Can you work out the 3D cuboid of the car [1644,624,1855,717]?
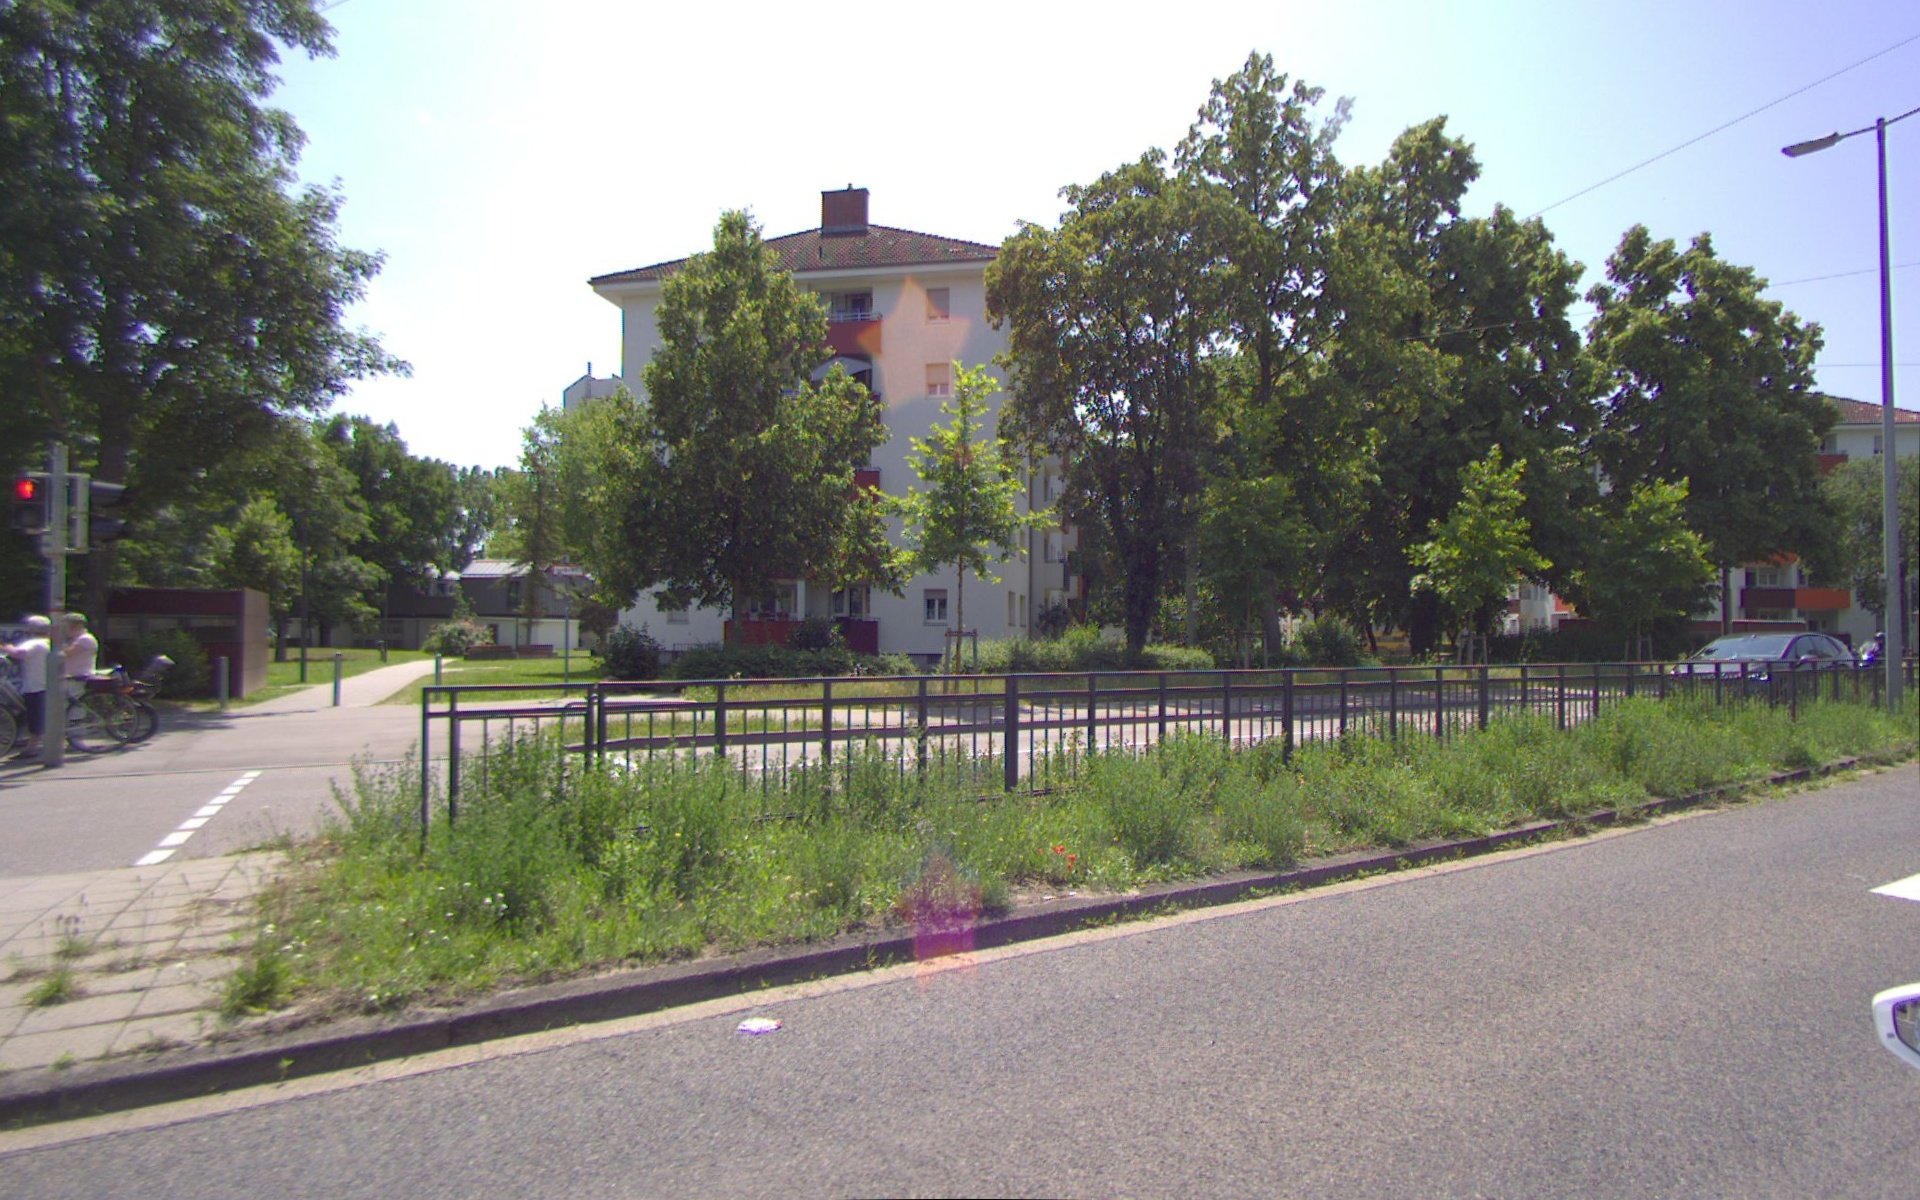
[{"bbox_3d":[14.686,1.246,18.646,4.113,1.563,1.747,1,-2,-31],"label":"car"}]

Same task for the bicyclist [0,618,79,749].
[{"bbox_3d":[-10.024,0.883,10.773,0.746,1.363,0.542,1,-2,-31],"label":"bicyclist"}]

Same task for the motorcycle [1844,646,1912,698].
[{"bbox_3d":[24.698,1.910,27.013,2.370,1.316,0.800,2,-2,-34],"label":"motorcycle"}]

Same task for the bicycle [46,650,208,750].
[{"bbox_3d":[-9.868,1.167,11.952,1.363,1.109,0.551,2,-1,-29],"label":"bicycle"}]

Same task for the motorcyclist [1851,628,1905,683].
[{"bbox_3d":[24.660,1.483,26.977,1.497,1.422,0.731,1,-2,-35],"label":"motorcyclist"}]

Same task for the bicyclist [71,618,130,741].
[{"bbox_3d":[-10.111,0.927,11.825,0.435,1.410,0.356,1,0,-27],"label":"bicyclist"}]

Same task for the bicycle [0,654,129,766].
[{"bbox_3d":[-10.021,1.161,10.771,1.596,1.148,0.585,1,-2,-30],"label":"bicycle"}]
